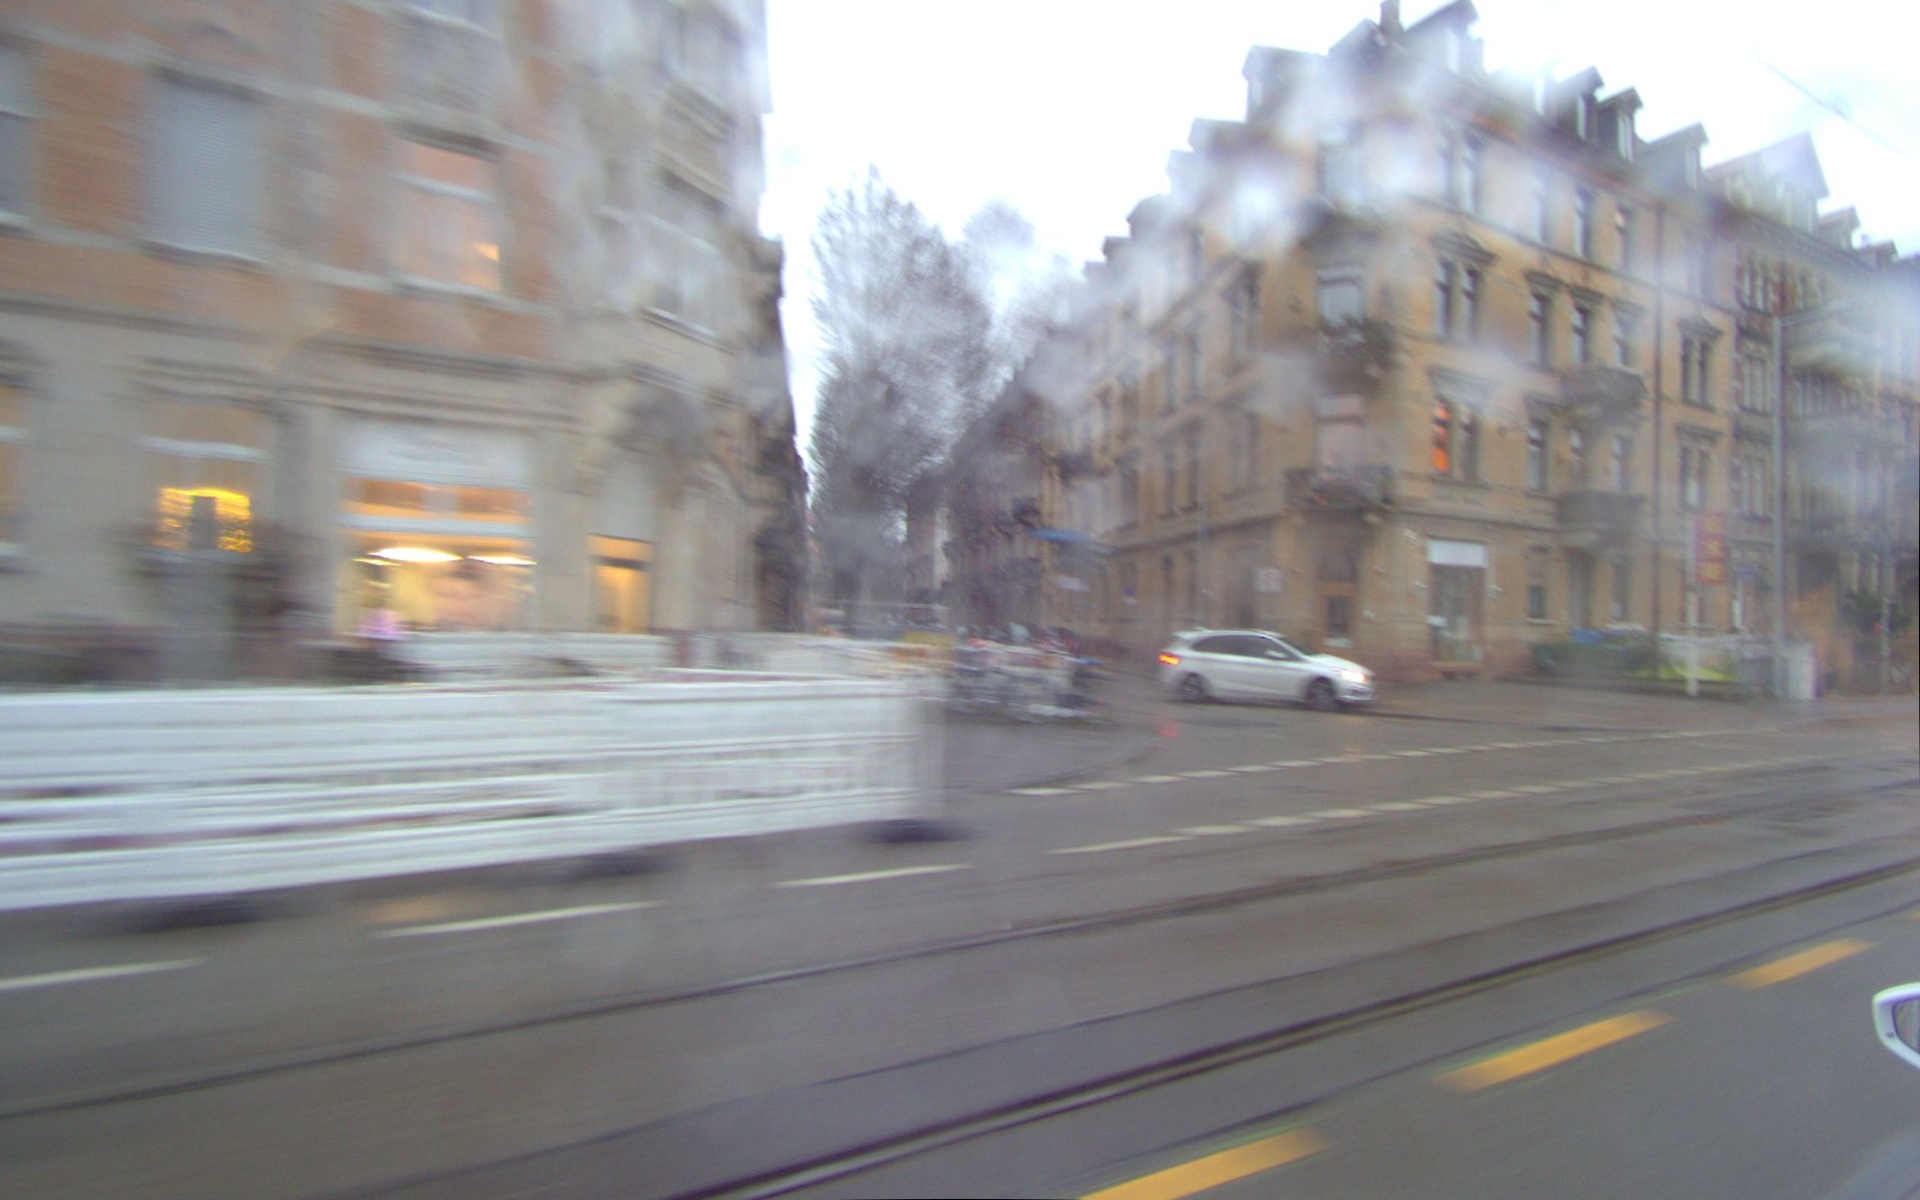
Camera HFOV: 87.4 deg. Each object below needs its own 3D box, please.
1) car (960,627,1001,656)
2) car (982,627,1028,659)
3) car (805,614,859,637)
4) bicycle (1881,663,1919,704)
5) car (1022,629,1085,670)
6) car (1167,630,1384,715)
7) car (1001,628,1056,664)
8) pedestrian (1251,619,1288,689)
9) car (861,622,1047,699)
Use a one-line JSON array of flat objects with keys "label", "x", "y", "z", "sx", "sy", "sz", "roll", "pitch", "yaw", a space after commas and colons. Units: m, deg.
[{"label": "car", "x": 1.137, "y": 2.368, "z": 57.649, "sx": 1.726, "sy": 1.546, "sz": 3.940, "roll": 1, "pitch": -1, "yaw": -8}, {"label": "car", "x": 2.294, "y": 2.234, "z": 52.566, "sx": 1.726, "sy": 1.546, "sz": 3.940, "roll": 1, "pitch": -1, "yaw": -8}, {"label": "car", "x": -11.142, "y": 2.232, "z": 87.177, "sx": 4.430, "sy": 1.901, "sz": 1.995, "roll": 2, "pitch": -1, "yaw": -13}, {"label": "bicycle", "x": 25.207, "y": 2.211, "z": 26.737, "sx": 1.742, "sy": 1.020, "sz": 0.494, "roll": 2, "pitch": -1, "yaw": -29}, {"label": "car", "x": 3.752, "y": 1.959, "z": 40.871, "sx": 1.726, "sy": 1.546, "sz": 3.940, "roll": 1, "pitch": -1, "yaw": -8}, {"label": "car", "x": 6.685, "y": 1.462, "z": 21.315, "sx": 4.097, "sy": 1.546, "sz": 1.997, "roll": 1, "pitch": -1, "yaw": 28}, {"label": "car", "x": 3.065, "y": 2.073, "z": 45.780, "sx": 1.726, "sy": 1.546, "sz": 3.940, "roll": 1, "pitch": -1, "yaw": -8}, {"label": "pedestrian", "x": 8.148, "y": 1.402, "z": 26.426, "sx": 0.709, "sy": 1.797, "sz": 0.768, "roll": 0, "pitch": -1, "yaw": 37}, {"label": "car", "x": -0.156, "y": 1.297, "z": 22.081, "sx": 3.923, "sy": 1.550, "sz": 1.728, "roll": 1, "pitch": -1, "yaw": -3}]
